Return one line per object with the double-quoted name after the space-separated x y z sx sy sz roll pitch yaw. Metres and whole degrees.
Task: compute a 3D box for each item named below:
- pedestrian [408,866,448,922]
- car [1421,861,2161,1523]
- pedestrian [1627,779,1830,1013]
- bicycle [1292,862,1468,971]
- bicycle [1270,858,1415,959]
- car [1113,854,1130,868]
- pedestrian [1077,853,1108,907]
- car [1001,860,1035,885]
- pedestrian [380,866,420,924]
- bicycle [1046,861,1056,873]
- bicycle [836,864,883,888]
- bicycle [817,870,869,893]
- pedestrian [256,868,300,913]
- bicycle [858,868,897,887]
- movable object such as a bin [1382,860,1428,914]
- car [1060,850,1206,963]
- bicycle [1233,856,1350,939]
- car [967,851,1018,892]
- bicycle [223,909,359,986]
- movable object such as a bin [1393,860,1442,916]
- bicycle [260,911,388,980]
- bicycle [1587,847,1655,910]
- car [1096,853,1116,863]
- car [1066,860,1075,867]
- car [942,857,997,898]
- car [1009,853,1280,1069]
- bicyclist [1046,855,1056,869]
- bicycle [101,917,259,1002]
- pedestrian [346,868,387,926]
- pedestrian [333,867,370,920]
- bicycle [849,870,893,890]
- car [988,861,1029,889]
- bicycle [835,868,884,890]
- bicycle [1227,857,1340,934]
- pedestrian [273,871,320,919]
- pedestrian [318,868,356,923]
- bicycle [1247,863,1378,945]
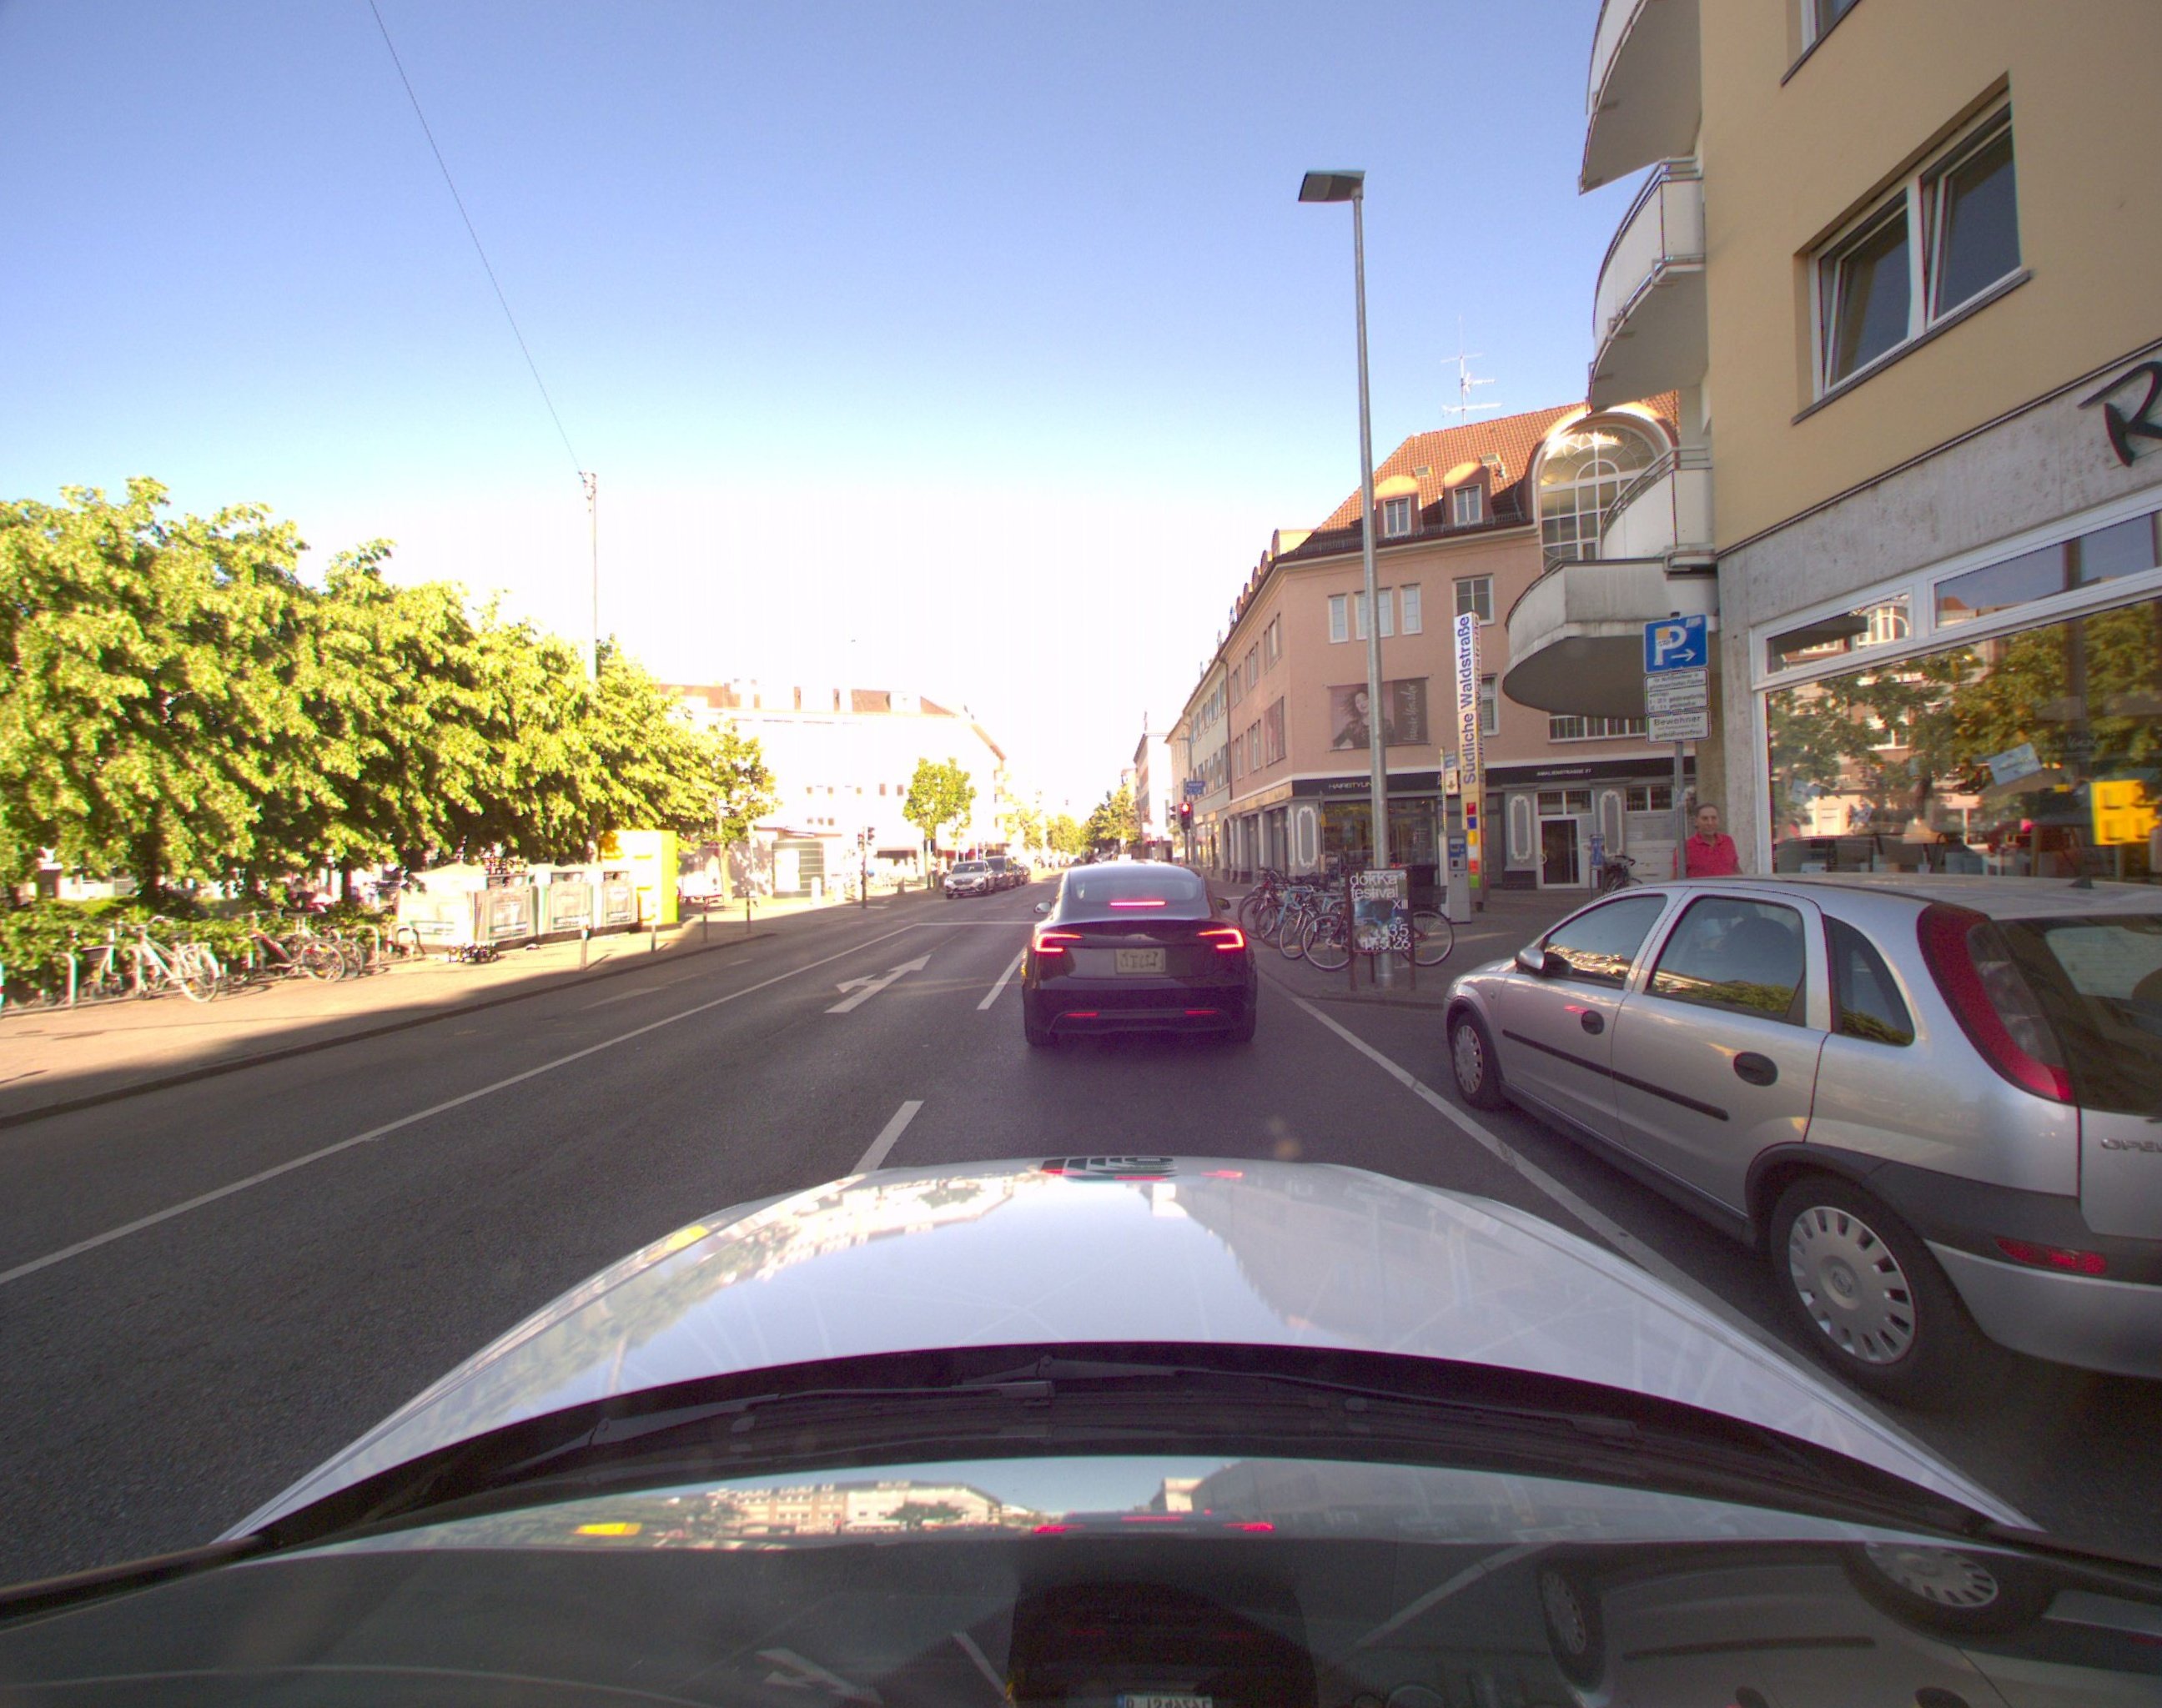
-23.988 1.453 29.923 0.980 2.013 0.910 -2 -1 38 "pedestrian"
2.972 0.734 3.540 1.607 1.382 3.645 0 0 2 "car"
5.429 0.338 6.919 0.859 1.784 1.011 -4 -1 10 "pedestrian"
3.640 0.755 10.034 1.876 1.193 0.693 -3 0 7 "bicycle"
3.543 0.728 11.170 1.713 1.268 0.792 -3 -1 7 "bicycle"
5.028 0.909 100.899 1.986 1.629 4.002 -1 0 2 "car"
0.333 0.748 24.147 0.747 1.552 0.696 -1 0 -12 "pedestrian"
-4.394 1.261 57.294 1.988 1.436 4.672 -5 0 -1 "car"
-24.434 1.455 29.231 0.980 2.013 0.910 -2 -1 38 "pedestrian"
-3.481 1.546 95.804 1.108 1.344 3.998 -1 0 -1 "bicycle"
-12.907 1.249 47.513 2.472 1.324 0.921 -1 0 -4 "bicycle"
-12.581 1.442 43.114 2.497 1.156 0.843 -1 0 0 "bicycle"
-36.475 1.640 36.998 1.208 2.013 0.908 -1 0 15 "pedestrian"
-13.166 1.520 52.706 2.318 1.156 0.841 -1 0 -4 "bicycle"
6.753 0.680 16.998 0.730 1.092 0.628 0 -1 3 "movable object such as a bin"
0.741 0.726 13.330 1.987 1.512 4.175 -1 0 0 "car"
3.508 0.714 13.703 1.738 1.267 0.782 -3 -1 4 "bicycle"
-4.584 0.864 42.876 1.827 1.845 4.677 -5 0 2 "car"
-11.317 1.336 11.686 1.561 1.023 0.430 -1 0 3 "bicycle"
6.744 0.674 16.360 0.749 1.092 0.628 0 -1 3 "movable object such as a bin"
-11.341 1.365 12.217 1.517 0.958 0.431 -1 1 3 "bicycle"
11.058 0.466 16.748 0.653 1.199 2.223 -2 0 21 "bicycle"
5.113 0.852 167.691 3.974 2.013 2.000 -1 0 0 "car"
-2.494 2.165 187.386 1.988 1.637 3.998 -1 0 -1 "car"
-4.943 0.995 36.593 1.802 1.555 4.308 -5 0 -1 "car"
0.501 0.761 7.658 1.841 1.455 4.001 -1 0 2 "car"
-3.508 0.930 95.901 1.123 1.628 0.965 -1 0 -1 "bicyclist"
-11.453 1.332 10.367 1.590 1.018 0.430 -1 0 3 "bicycle"
-25.644 1.520 29.237 0.980 2.013 0.910 -2 -1 38 "pedestrian"
-28.796 1.540 32.138 0.980 2.013 0.910 -2 -1 38 "pedestrian"
-12.950 1.575 50.271 2.528 1.156 0.841 -1 0 -4 "bicycle"
-4.363 1.236 49.697 1.988 1.410 4.672 -5 0 -1 "car"
-12.376 1.369 45.566 2.453 1.156 0.843 -1 0 0 "bicycle"
3.623 0.742 14.731 1.851 1.258 0.834 -3 -1 7 "bicycle"
-33.860 1.780 35.154 1.272 2.013 0.908 -1 0 13 "pedestrian"
-28.379 1.556 31.054 0.980 2.013 0.910 -2 -1 38 "pedestrian"
3.523 0.757 12.522 1.788 1.124 0.783 -3 -1 7 "bicycle"
